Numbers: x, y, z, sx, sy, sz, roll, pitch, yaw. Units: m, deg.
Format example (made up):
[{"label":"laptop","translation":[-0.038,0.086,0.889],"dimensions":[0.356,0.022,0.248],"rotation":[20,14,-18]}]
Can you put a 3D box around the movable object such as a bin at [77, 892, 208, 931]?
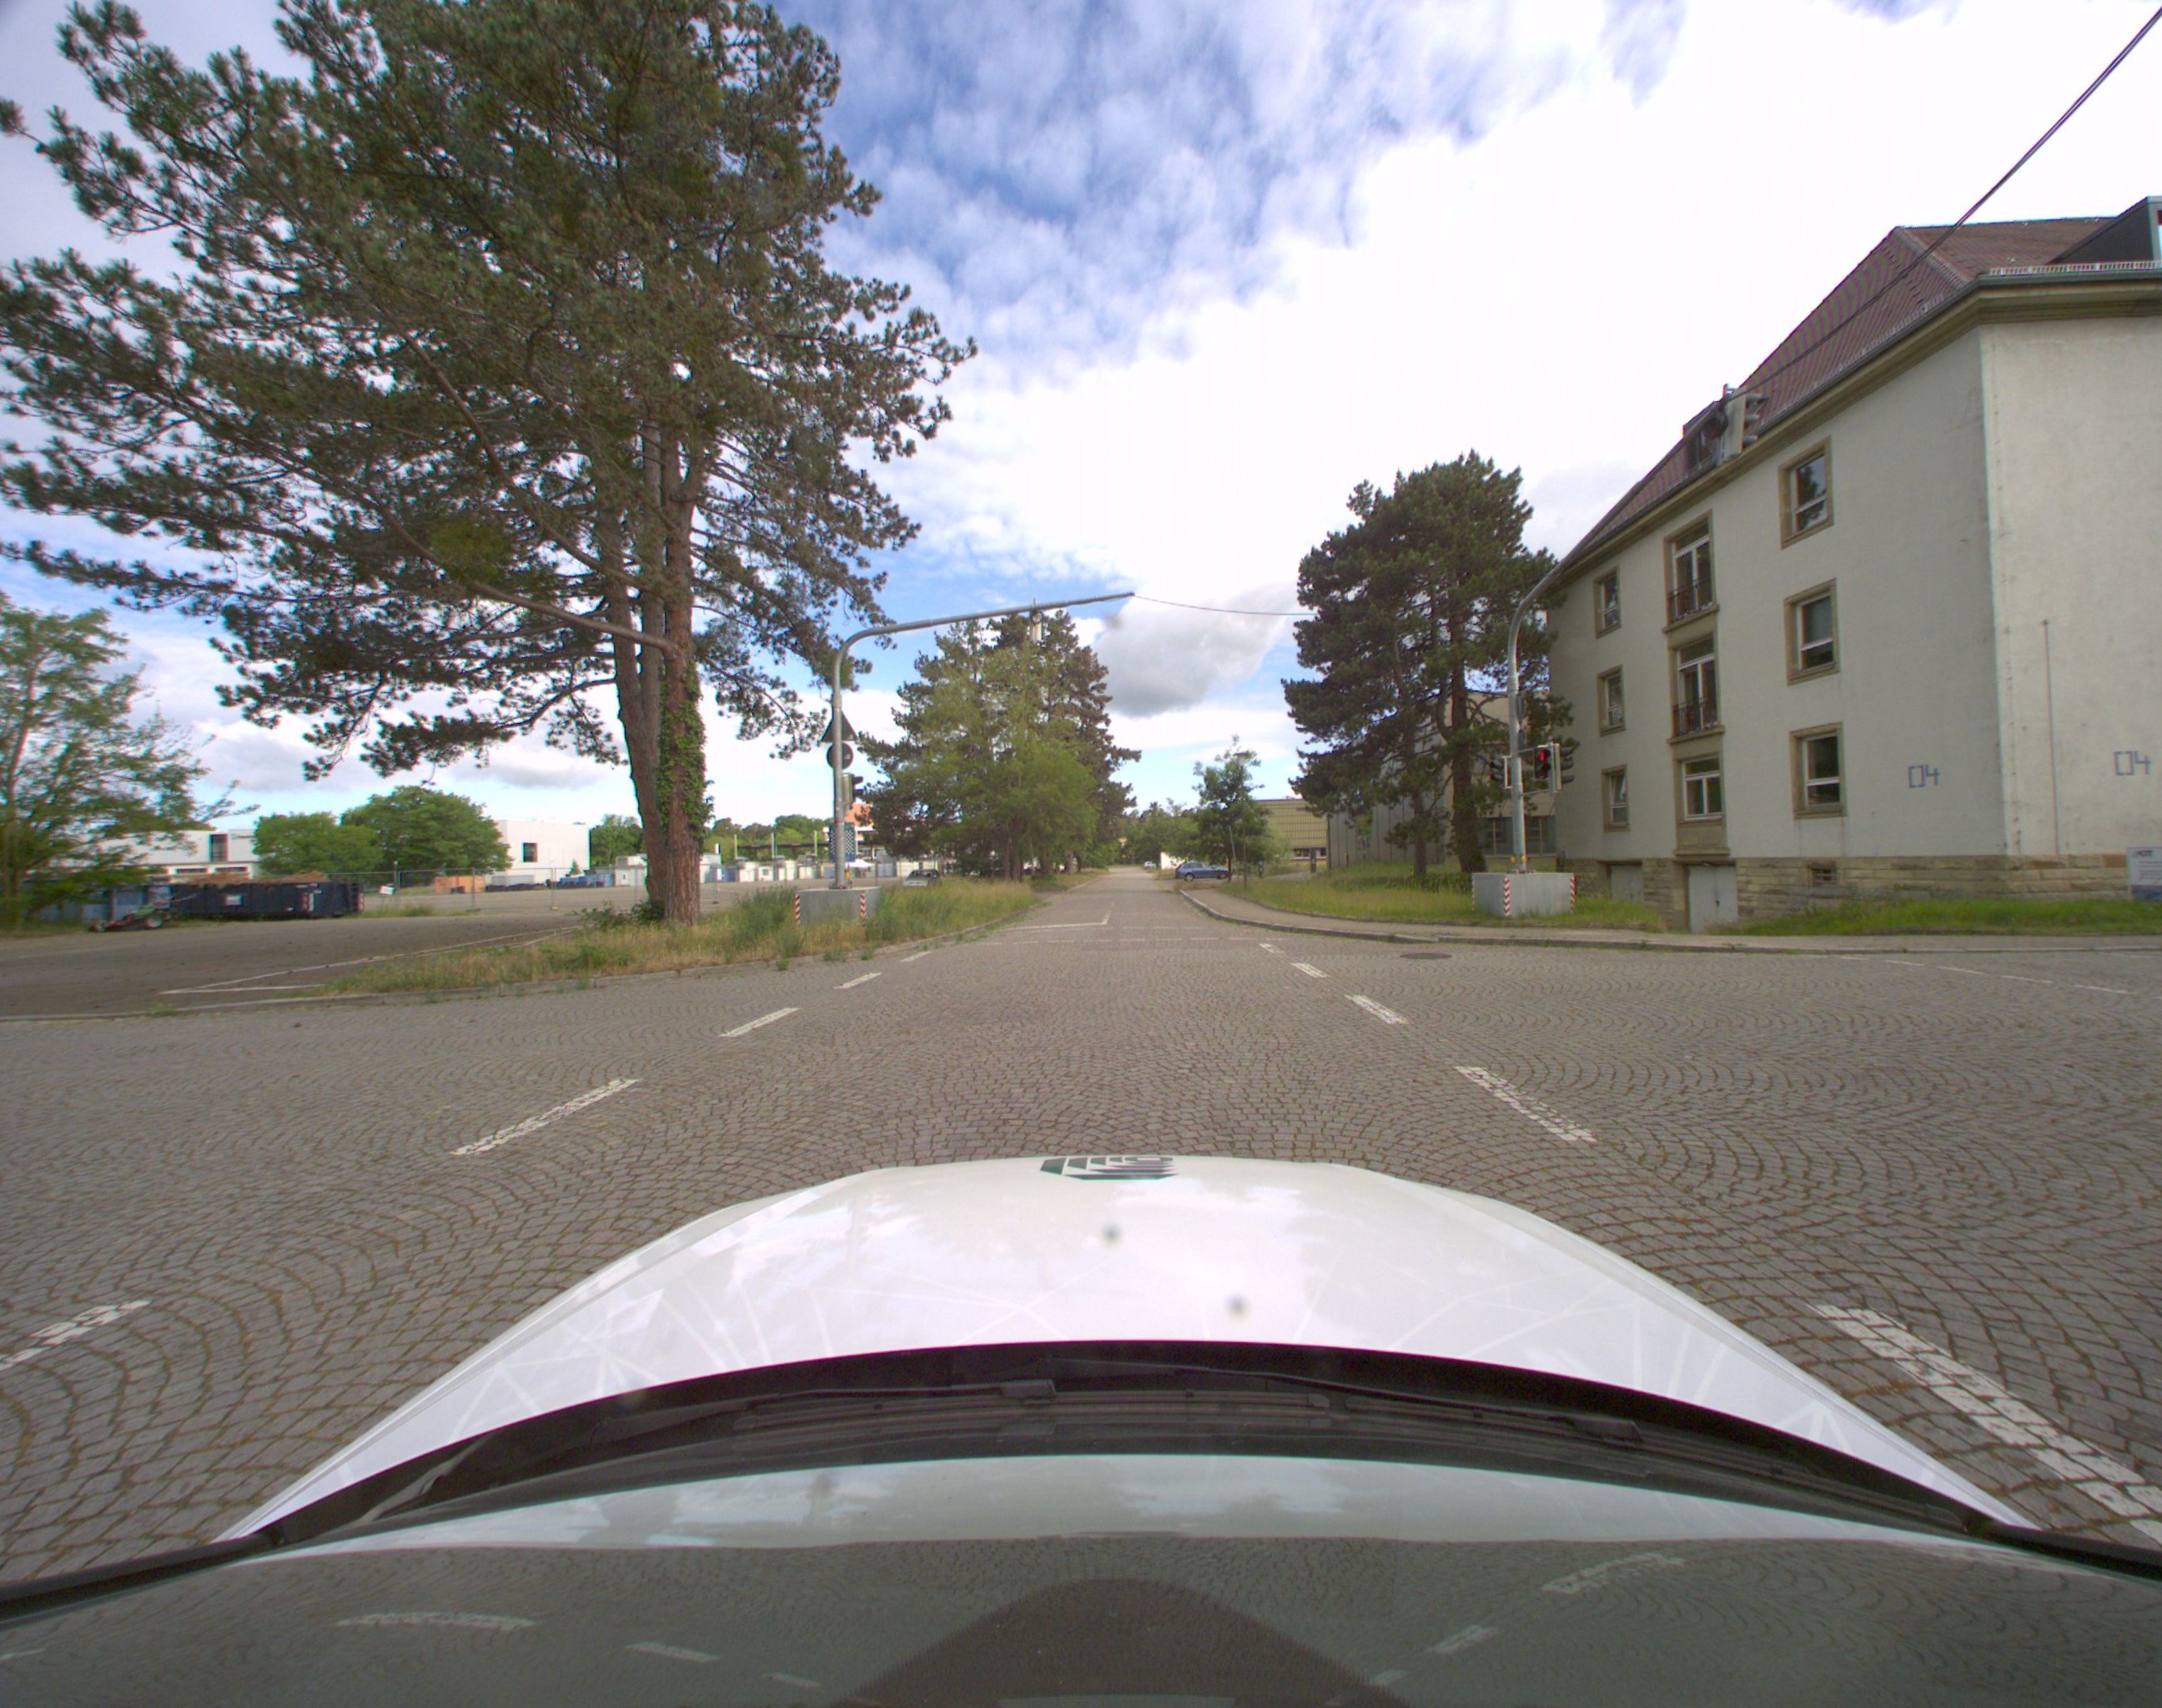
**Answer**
[{"label":"movable object such as a bin","translation":[-30.194,1.823,26.291],"dimensions":[1.174,1.048,2.657],"rotation":[-2,-1,-1]}]

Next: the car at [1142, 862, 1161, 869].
[{"label":"car","translation":[15.780,2.577,181.252],"dimensions":[3.977,1.398,1.998],"rotation":[-2,-1,-3]}]

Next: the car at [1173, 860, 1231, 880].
[{"label":"car","translation":[9.493,1.287,64.253],"dimensions":[4.328,1.422,2.000],"rotation":[-2,-1,1]}]

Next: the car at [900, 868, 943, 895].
[{"label":"car","translation":[-9.785,1.667,50.277],"dimensions":[1.606,1.487,4.004],"rotation":[-2,-1,3]}]
